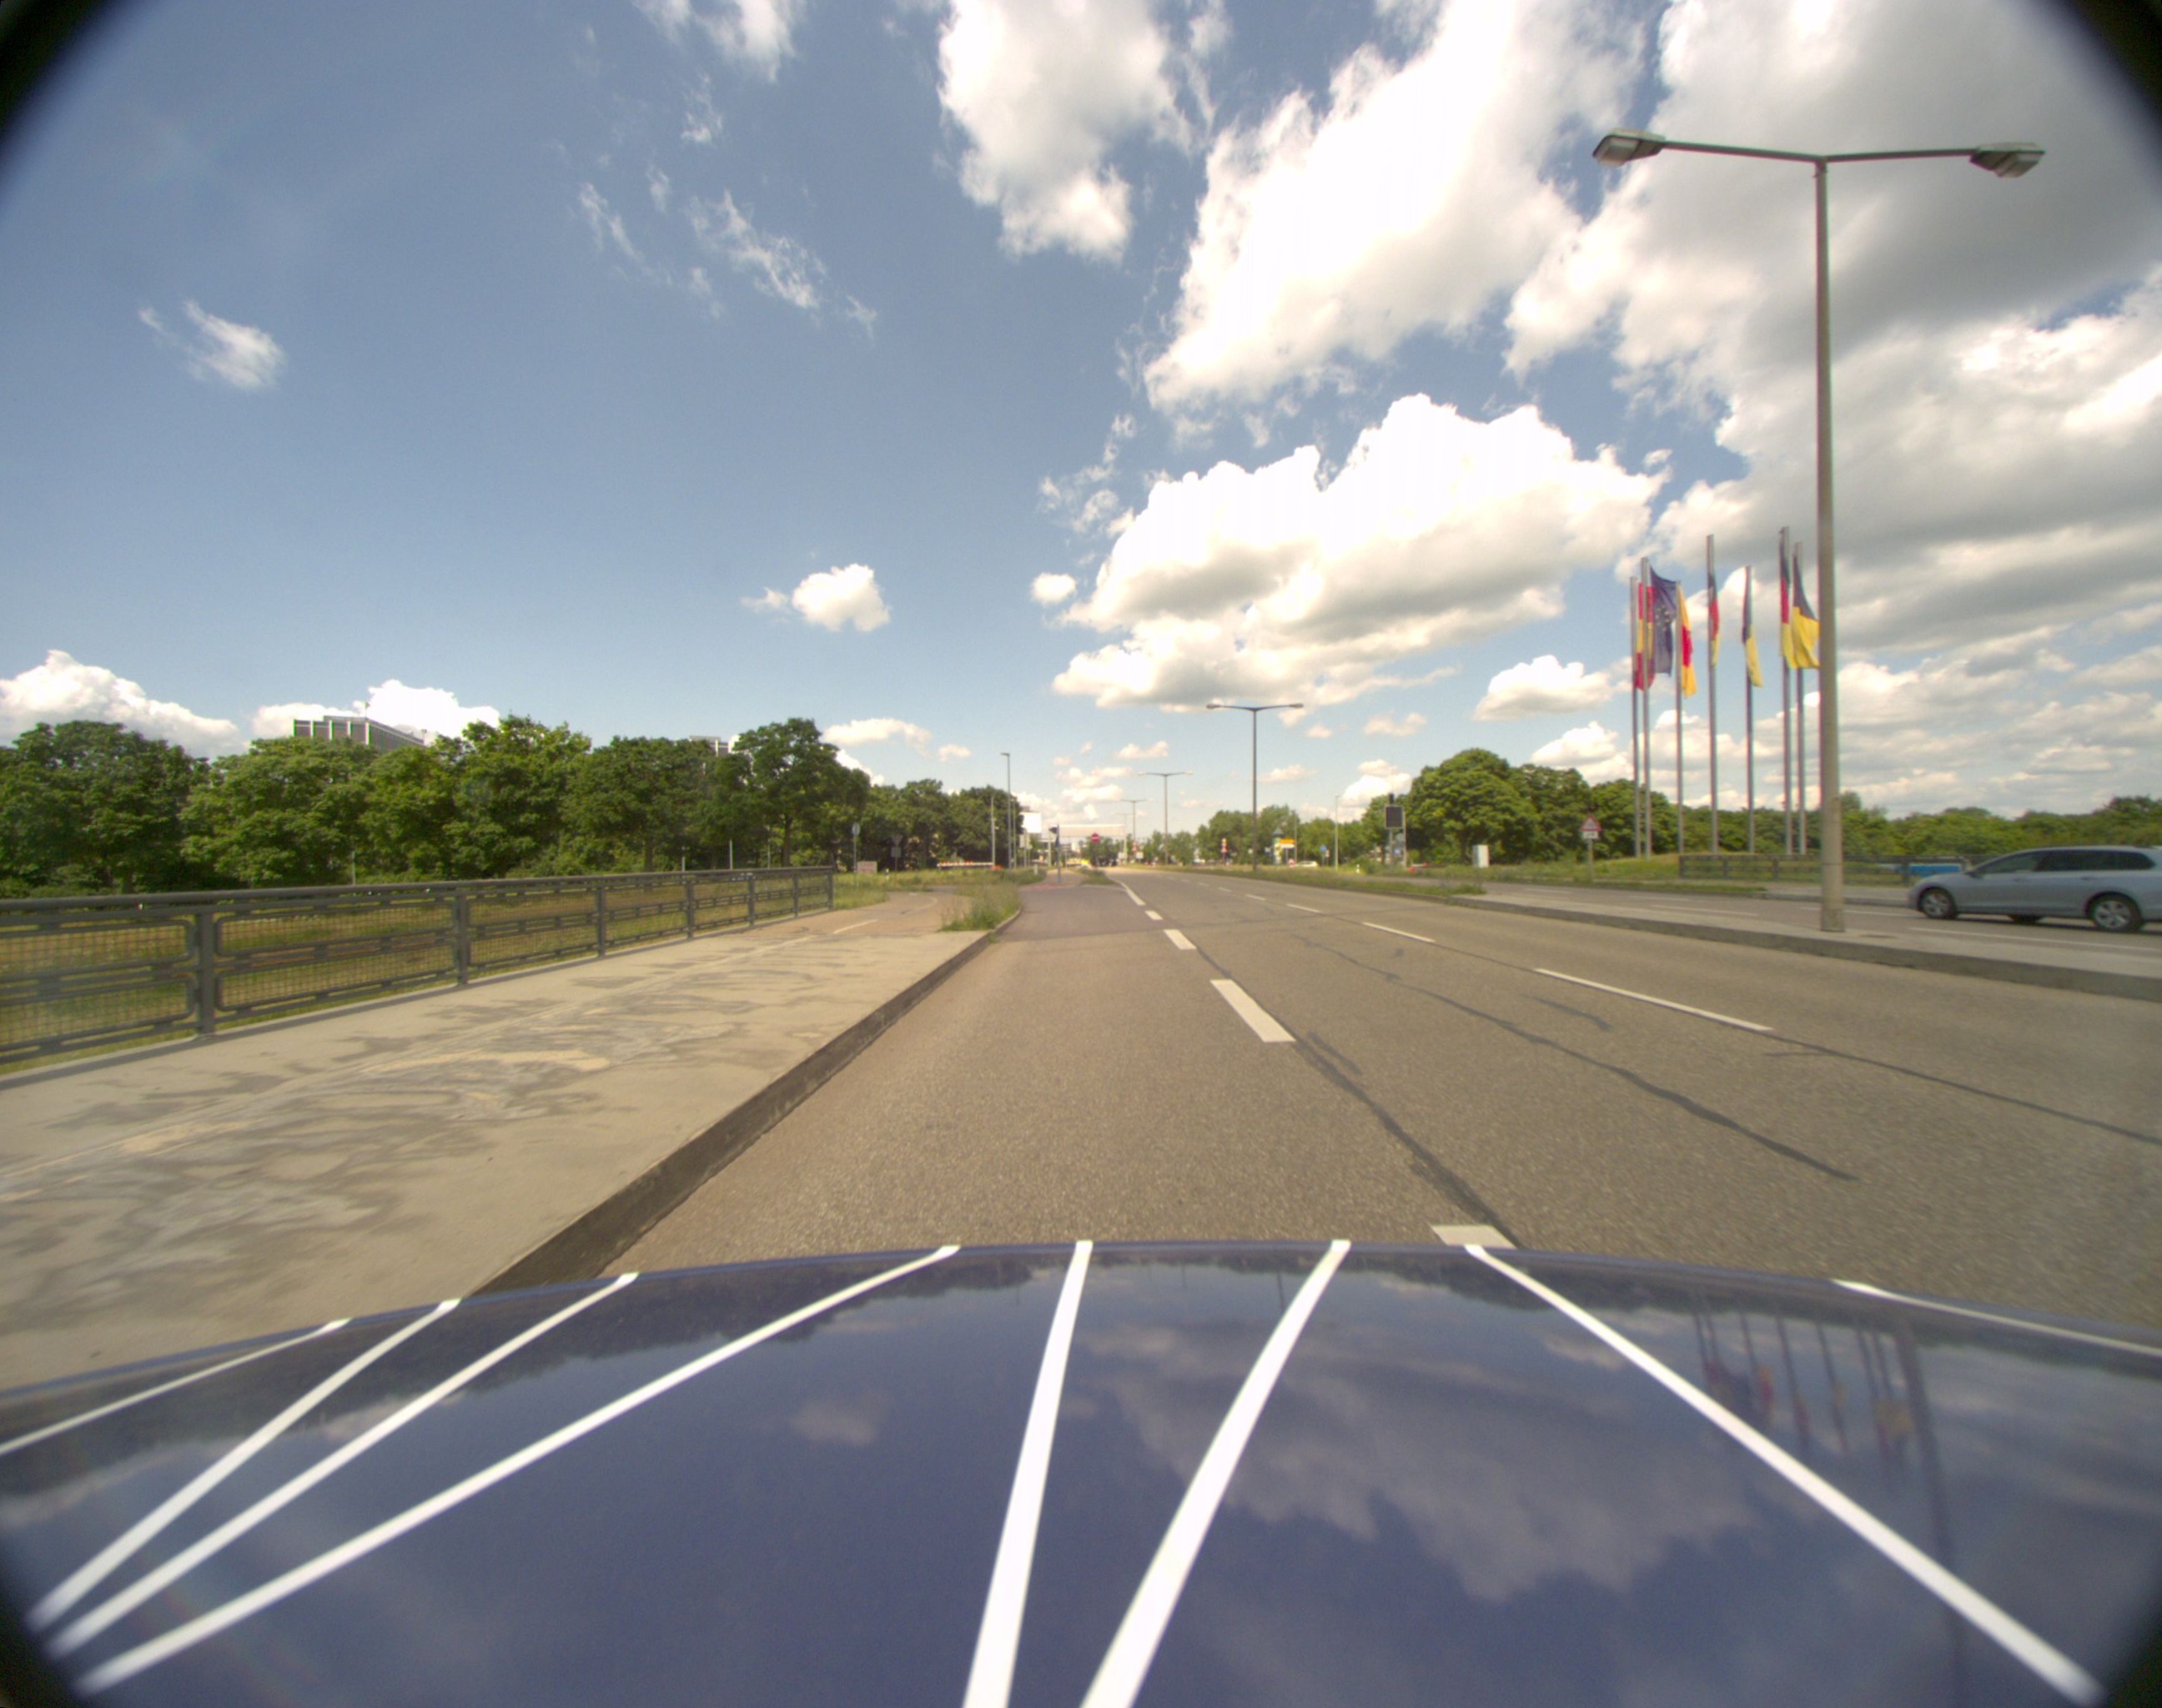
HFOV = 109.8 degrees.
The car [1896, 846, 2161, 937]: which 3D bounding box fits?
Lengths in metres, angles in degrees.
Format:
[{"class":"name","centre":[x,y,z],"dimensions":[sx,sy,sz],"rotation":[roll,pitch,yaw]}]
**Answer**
[{"class":"car","centre":[17.689,0.615,13.479],"dimensions":[1.667,1.405,4.551],"rotation":[1,0,3]}]
